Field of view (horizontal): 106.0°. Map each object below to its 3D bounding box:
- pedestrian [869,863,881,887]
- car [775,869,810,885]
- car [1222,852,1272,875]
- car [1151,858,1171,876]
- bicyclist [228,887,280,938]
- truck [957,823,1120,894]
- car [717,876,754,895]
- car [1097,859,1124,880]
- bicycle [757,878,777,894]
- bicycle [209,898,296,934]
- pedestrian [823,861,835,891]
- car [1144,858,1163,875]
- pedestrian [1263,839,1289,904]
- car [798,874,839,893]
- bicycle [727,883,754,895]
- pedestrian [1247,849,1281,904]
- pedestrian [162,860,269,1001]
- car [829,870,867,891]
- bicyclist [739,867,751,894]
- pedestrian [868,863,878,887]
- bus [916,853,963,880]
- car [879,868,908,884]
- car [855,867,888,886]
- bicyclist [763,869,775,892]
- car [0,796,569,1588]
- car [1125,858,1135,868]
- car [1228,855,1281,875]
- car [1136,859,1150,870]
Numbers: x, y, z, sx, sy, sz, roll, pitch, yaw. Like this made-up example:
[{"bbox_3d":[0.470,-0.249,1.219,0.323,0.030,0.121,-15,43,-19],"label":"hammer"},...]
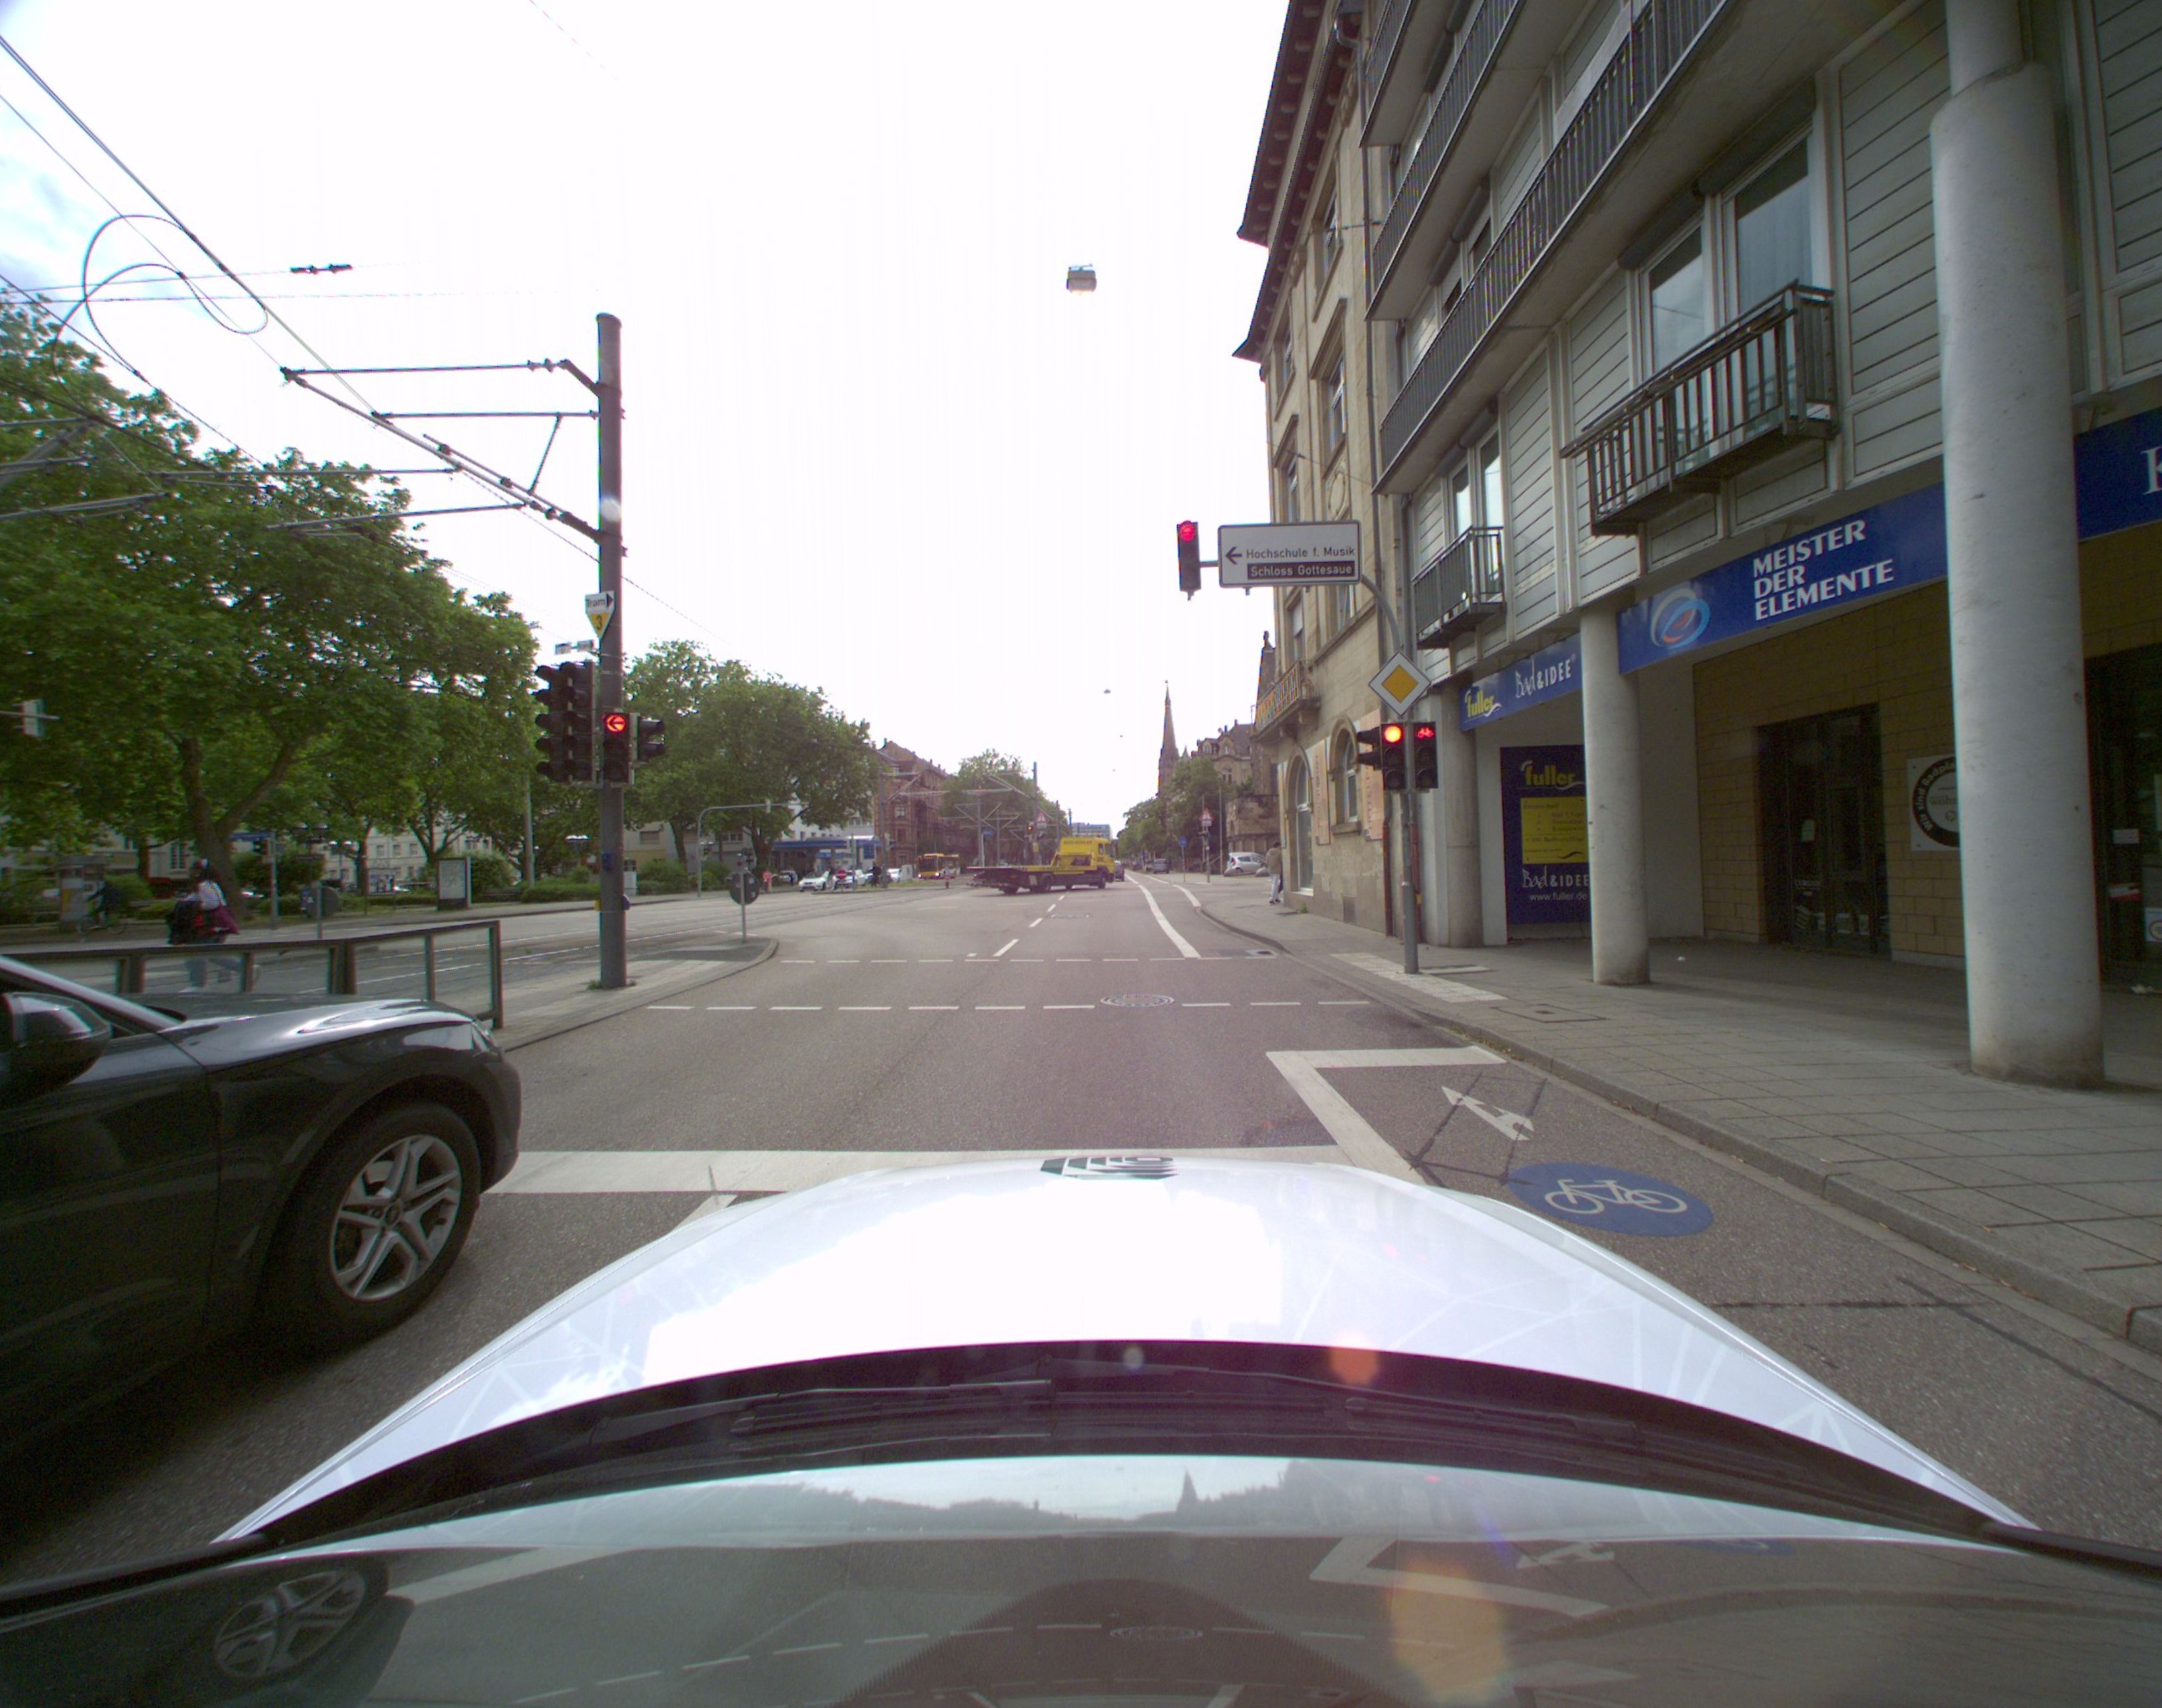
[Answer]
[{"bbox_3d":[-13.050,1.322,51.658,0.651,1.537,0.465,0,-1,-3],"label":"pedestrian"},{"bbox_3d":[-28.743,2.277,81.332,1.986,1.530,4.001,0,-1,2],"label":"car"},{"bbox_3d":[13.865,0.769,68.152,3.785,1.904,2.001,0,-1,1],"label":"car"},{"bbox_3d":[8.813,1.421,90.077,1.986,2.014,4.001,0,-1,1],"label":"car"},{"bbox_3d":[-28.284,1.973,27.876,1.041,1.683,0.641,0,-1,-19],"label":"bicyclist"},{"bbox_3d":[-1.649,0.217,38.926,2.603,2.941,10.243,-1,-1,30],"label":"truck"},{"bbox_3d":[-29.929,2.724,70.640,1.892,1.557,3.828,0,-1,-6],"label":"car"},{"bbox_3d":[2.164,1.137,60.449,1.830,1.469,3.991,0,-1,-1],"label":"car"},{"bbox_3d":[-21.470,2.191,55.683,0.520,1.017,1.937,0,-1,2],"label":"bicycle"},{"bbox_3d":[-28.310,2.096,27.849,1.943,1.136,0.731,0,-1,-19],"label":"bicycle"},{"bbox_3d":[-15.391,1.354,49.814,0.571,1.794,0.518,0,-1,-3],"label":"pedestrian"},{"bbox_3d":[8.830,1.537,99.639,1.986,2.014,4.001,0,-1,1],"label":"car"},{"bbox_3d":[5.538,0.490,23.106,0.578,1.813,1.020,0,-1,21],"label":"pedestrian"},{"bbox_3d":[-19.143,2.144,59.536,1.628,1.325,4.001,0,-1,2],"label":"car"},{"bbox_3d":[-23.023,2.372,55.106,1.665,0.773,0.659,-1,-1,22],"label":"bicycle"},{"bbox_3d":[5.635,0.675,25.036,0.620,1.653,1.003,-1,-1,39],"label":"pedestrian"},{"bbox_3d":[-10.852,0.915,10.220,0.663,1.680,0.874,-1,-1,40],"label":"pedestrian"},{"bbox_3d":[-18.813,2.125,65.945,1.887,1.557,3.837,0,-1,2],"label":"car"},{"bbox_3d":[-22.736,1.795,55.100,0.528,1.784,0.472,-1,-1,21],"label":"bicyclist"},{"bbox_3d":[-13.319,1.340,52.212,0.544,1.537,0.465,0,-1,-3],"label":"pedestrian"},{"bbox_3d":[-17.380,1.489,101.053,3.073,3.112,13.098,0,-1,2],"label":"bus"},{"bbox_3d":[-18.317,2.121,79.755,1.887,1.557,3.837,0,-1,2],"label":"car"},{"bbox_3d":[-18.738,1.999,72.929,1.887,1.557,3.837,0,-1,2],"label":"car"},{"bbox_3d":[-21.462,1.796,55.988,0.585,1.568,0.619,0,-1,1],"label":"bicyclist"},{"bbox_3d":[-3.141,0.693,1.253,1.873,1.601,4.358,-1,-1,1],"label":"car"},{"bbox_3d":[10.362,1.841,172.310,1.986,2.014,4.001,0,-1,2],"label":"car"},{"bbox_3d":[13.754,0.878,64.740,3.785,1.601,2.001,0,-1,1],"label":"car"},{"bbox_3d":[9.720,1.662,128.451,1.986,1.607,4.165,-3,-1,1],"label":"car"}]
